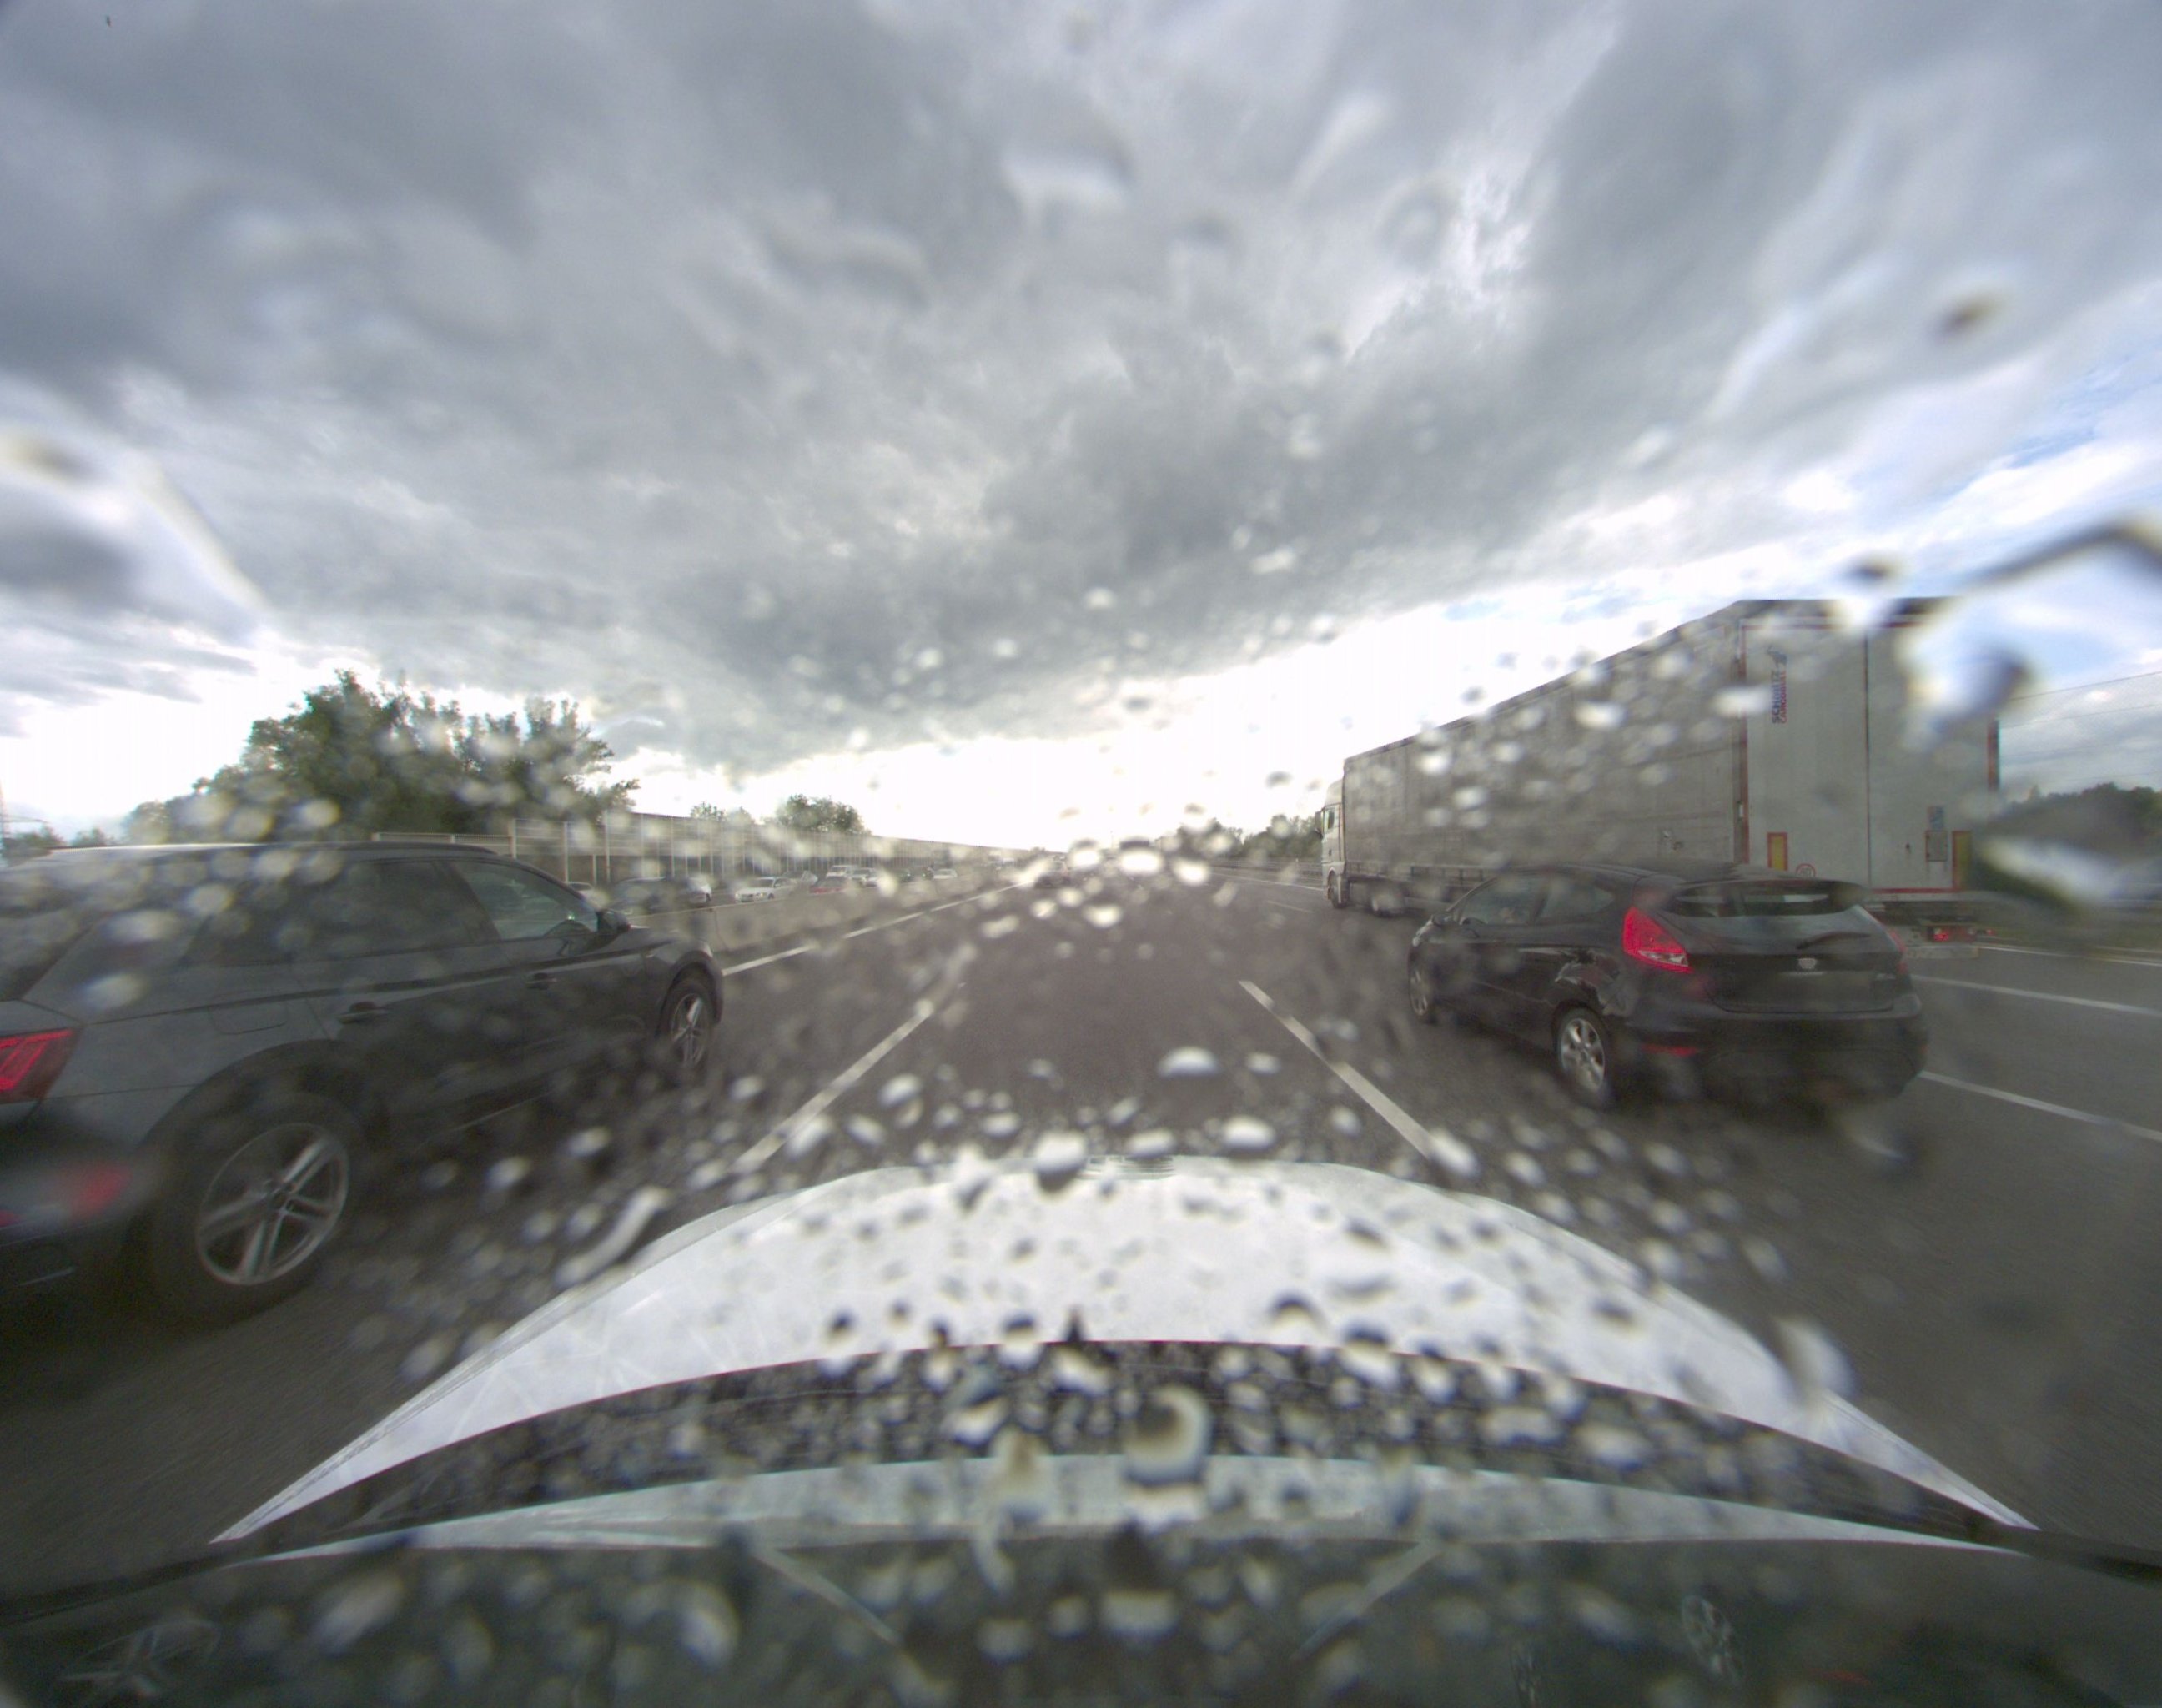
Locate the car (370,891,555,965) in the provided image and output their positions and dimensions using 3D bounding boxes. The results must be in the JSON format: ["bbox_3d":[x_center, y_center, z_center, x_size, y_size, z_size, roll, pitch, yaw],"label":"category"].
[{"bbox_3d":[-16.972,1.963,22.663,1.740,1.630,4.170,-2,0,4],"label":"car"}]

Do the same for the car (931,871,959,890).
[{"bbox_3d":[-11.525,2.240,69.347,1.565,1.394,3.578,-2,0,3],"label":"car"}]

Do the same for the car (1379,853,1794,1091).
[{"bbox_3d":[3.683,0.727,6.586,1.441,1.441,3.165,-1,0,1],"label":"car"}]

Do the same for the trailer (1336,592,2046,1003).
[{"bbox_3d":[8.223,-0.578,15.104,2.950,4.020,14.124,-1,0,2],"label":"trailer"}]

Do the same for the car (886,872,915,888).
[{"bbox_3d":[-18.391,2.607,83.158,1.741,1.430,4.716,-2,0,1],"label":"car"}]

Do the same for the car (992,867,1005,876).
[{"bbox_3d":[-15.207,3.150,150.248,1.740,1.525,4.180,-2,0,3],"label":"car"}]

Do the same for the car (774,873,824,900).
[{"bbox_3d":[-19.521,2.197,56.568,1.742,1.630,4.644,-2,0,0],"label":"car"}]

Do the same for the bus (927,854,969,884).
[{"bbox_3d":[-17.715,1.918,109.595,3.079,3.758,11.889,-2,0,3],"label":"bus"}]

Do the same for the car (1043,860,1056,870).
[{"bbox_3d":[-6.746,2.380,175.815,2.151,2.071,6.018,-2,0,3],"label":"car"}]

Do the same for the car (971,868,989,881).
[{"bbox_3d":[-13.725,2.784,110.792,1.740,1.525,4.180,-2,0,3],"label":"car"}]

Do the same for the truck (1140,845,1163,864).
[{"bbox_3d":[15.557,0.077,180.971,4.228,4.176,11.992,0,0,1],"label":"truck"}]

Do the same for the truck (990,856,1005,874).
[{"bbox_3d":[-17.824,2.305,173.864,2.566,3.935,5.180,0,0,3],"label":"truck"}]

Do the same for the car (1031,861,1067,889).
[{"bbox_3d":[-1.693,1.101,44.030,1.755,1.369,5.058,-1,0,0],"label":"car"}]

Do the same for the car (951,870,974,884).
[{"bbox_3d":[-14.276,2.739,98.328,1.740,1.525,4.930,-2,0,3],"label":"car"}]

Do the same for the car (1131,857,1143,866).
[{"bbox_3d":[9.550,1.211,138.069,1.829,1.441,4.056,-1,0,1],"label":"car"}]

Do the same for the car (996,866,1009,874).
[{"bbox_3d":[-15.289,3.122,159.309,1.740,1.525,5.143,-2,0,3],"label":"car"}]

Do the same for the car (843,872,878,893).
[{"bbox_3d":[-19.062,2.463,70.580,1.740,1.611,4.180,-2,0,3],"label":"car"}]

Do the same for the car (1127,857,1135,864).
[{"bbox_3d":[12.060,1.543,196.736,1.829,1.441,4.056,-1,0,1],"label":"car"}]

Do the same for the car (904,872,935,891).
[{"bbox_3d":[-15.511,2.644,78.452,1.927,1.611,4.180,-2,0,3],"label":"car"}]

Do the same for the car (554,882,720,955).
[{"bbox_3d":[-13.023,1.807,24.362,1.872,1.744,5.115,-2,0,4],"label":"car"}]

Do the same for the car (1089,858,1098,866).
[{"bbox_3d":[2.535,1.665,165.749,1.767,1.441,3.873,-1,0,0],"label":"car"}]

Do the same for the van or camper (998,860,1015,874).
[{"bbox_3d":[-15.068,2.619,165.466,2.335,2.641,7.154,-2,0,3],"label":"van or camper"}]

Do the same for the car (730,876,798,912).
[{"bbox_3d":[-16.317,2.034,42.138,1.741,1.630,4.167,-2,0,1],"label":"car"}]

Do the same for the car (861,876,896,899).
[{"bbox_3d":[-15.791,2.600,63.707,1.614,1.580,3.621,-2,0,3],"label":"car"}]

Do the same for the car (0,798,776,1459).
[{"bbox_3d":[-3.650,0.723,4.353,1.901,1.691,5.171,-1,0,2],"label":"car"}]

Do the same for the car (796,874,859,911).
[{"bbox_3d":[-12.418,1.859,40.106,1.740,1.630,3.750,-2,0,2],"label":"car"}]

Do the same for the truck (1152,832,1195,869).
[{"bbox_3d":[11.602,-0.409,103.268,4.165,4.288,12.614,0,0,1],"label":"truck"}]

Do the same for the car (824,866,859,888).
[{"bbox_3d":[-22.786,2.165,77.550,1.741,1.893,4.784,-2,0,1],"label":"car"}]

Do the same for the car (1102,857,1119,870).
[{"bbox_3d":[3.506,1.150,97.411,1.767,1.441,4.054,-1,0,0],"label":"car"}]

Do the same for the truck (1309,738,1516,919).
[{"bbox_3d":[8.389,-0.581,21.644,2.950,4.020,6.591,-1,0,2],"label":"truck"}]
